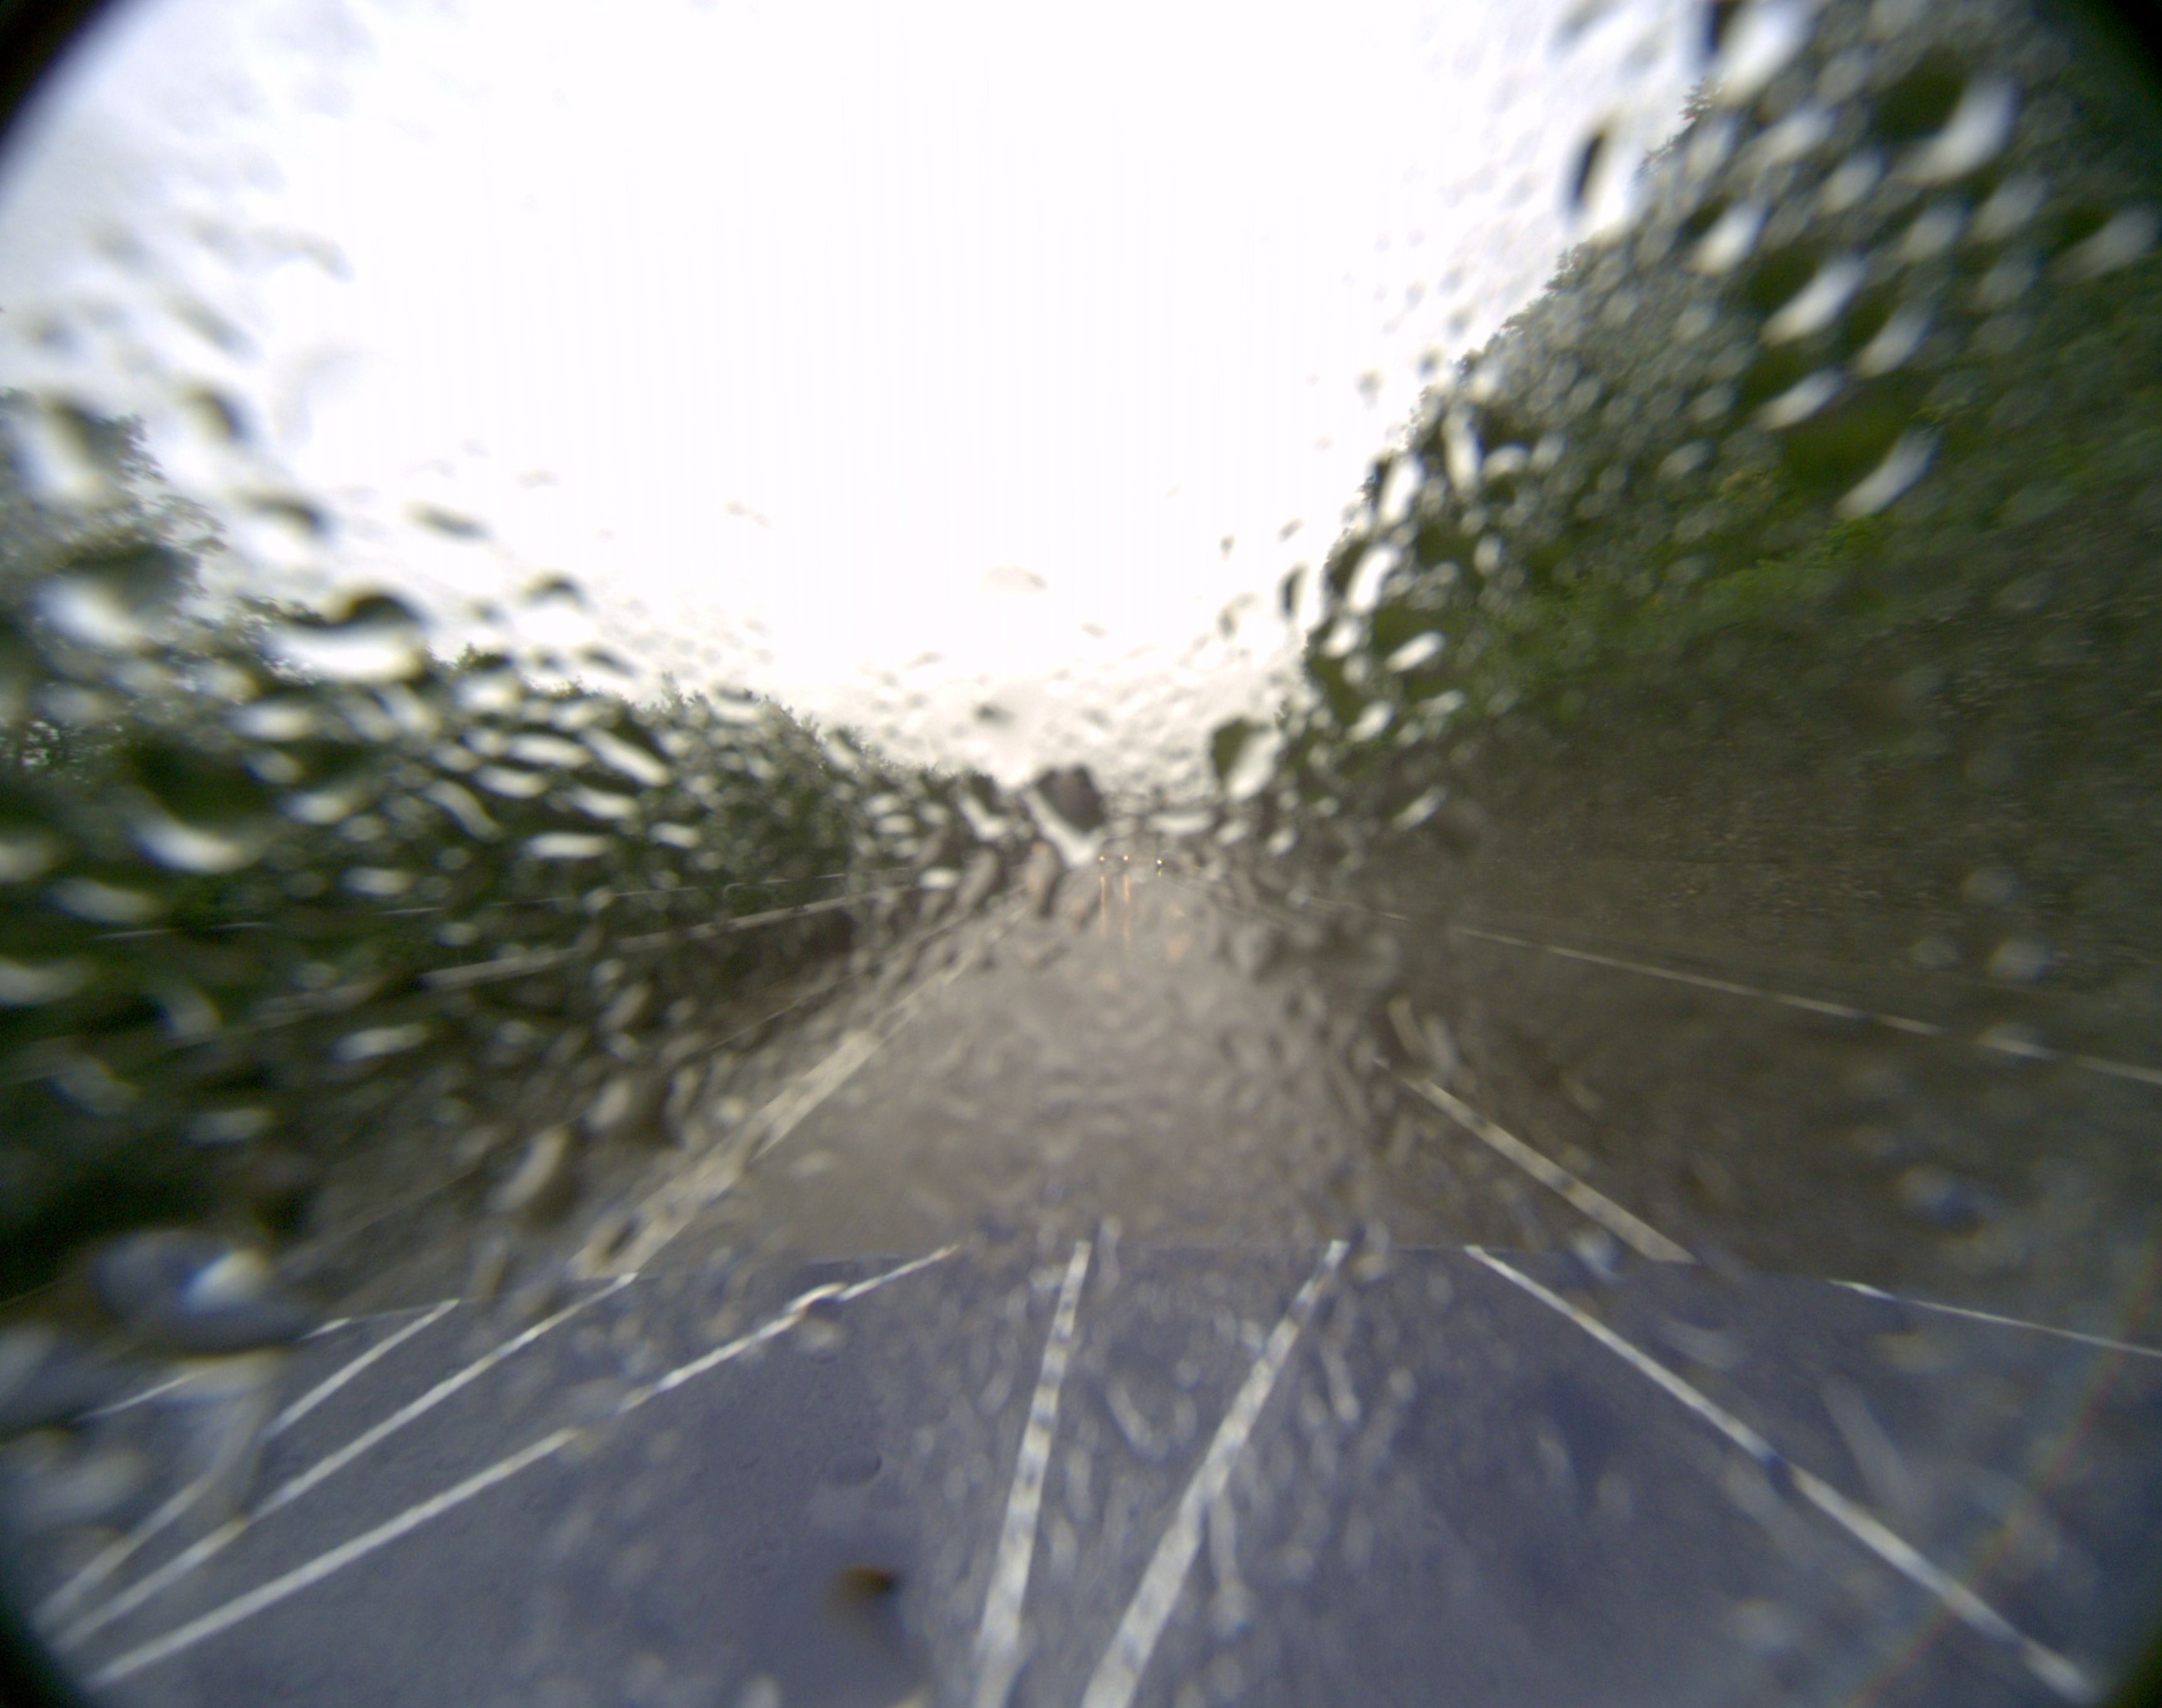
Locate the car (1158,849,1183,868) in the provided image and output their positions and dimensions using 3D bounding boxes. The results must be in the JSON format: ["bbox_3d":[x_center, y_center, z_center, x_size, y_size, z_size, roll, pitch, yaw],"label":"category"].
[{"bbox_3d":[6.958,0.317,58.913,1.826,1.375,4.002,-2,1,7],"label":"car"}]

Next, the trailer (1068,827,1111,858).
[{"bbox_3d":[1.447,-1.642,112.961,2.938,4.280,14.251,-1,1,14],"label":"trailer"}]

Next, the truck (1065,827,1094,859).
[{"bbox_3d":[-0.212,-1.577,105.837,2.809,4.280,6.470,-1,1,11],"label":"truck"}]

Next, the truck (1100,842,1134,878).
[{"bbox_3d":[2.754,0.393,56.161,2.107,2.481,8.006,0,0,6],"label":"truck"}]
